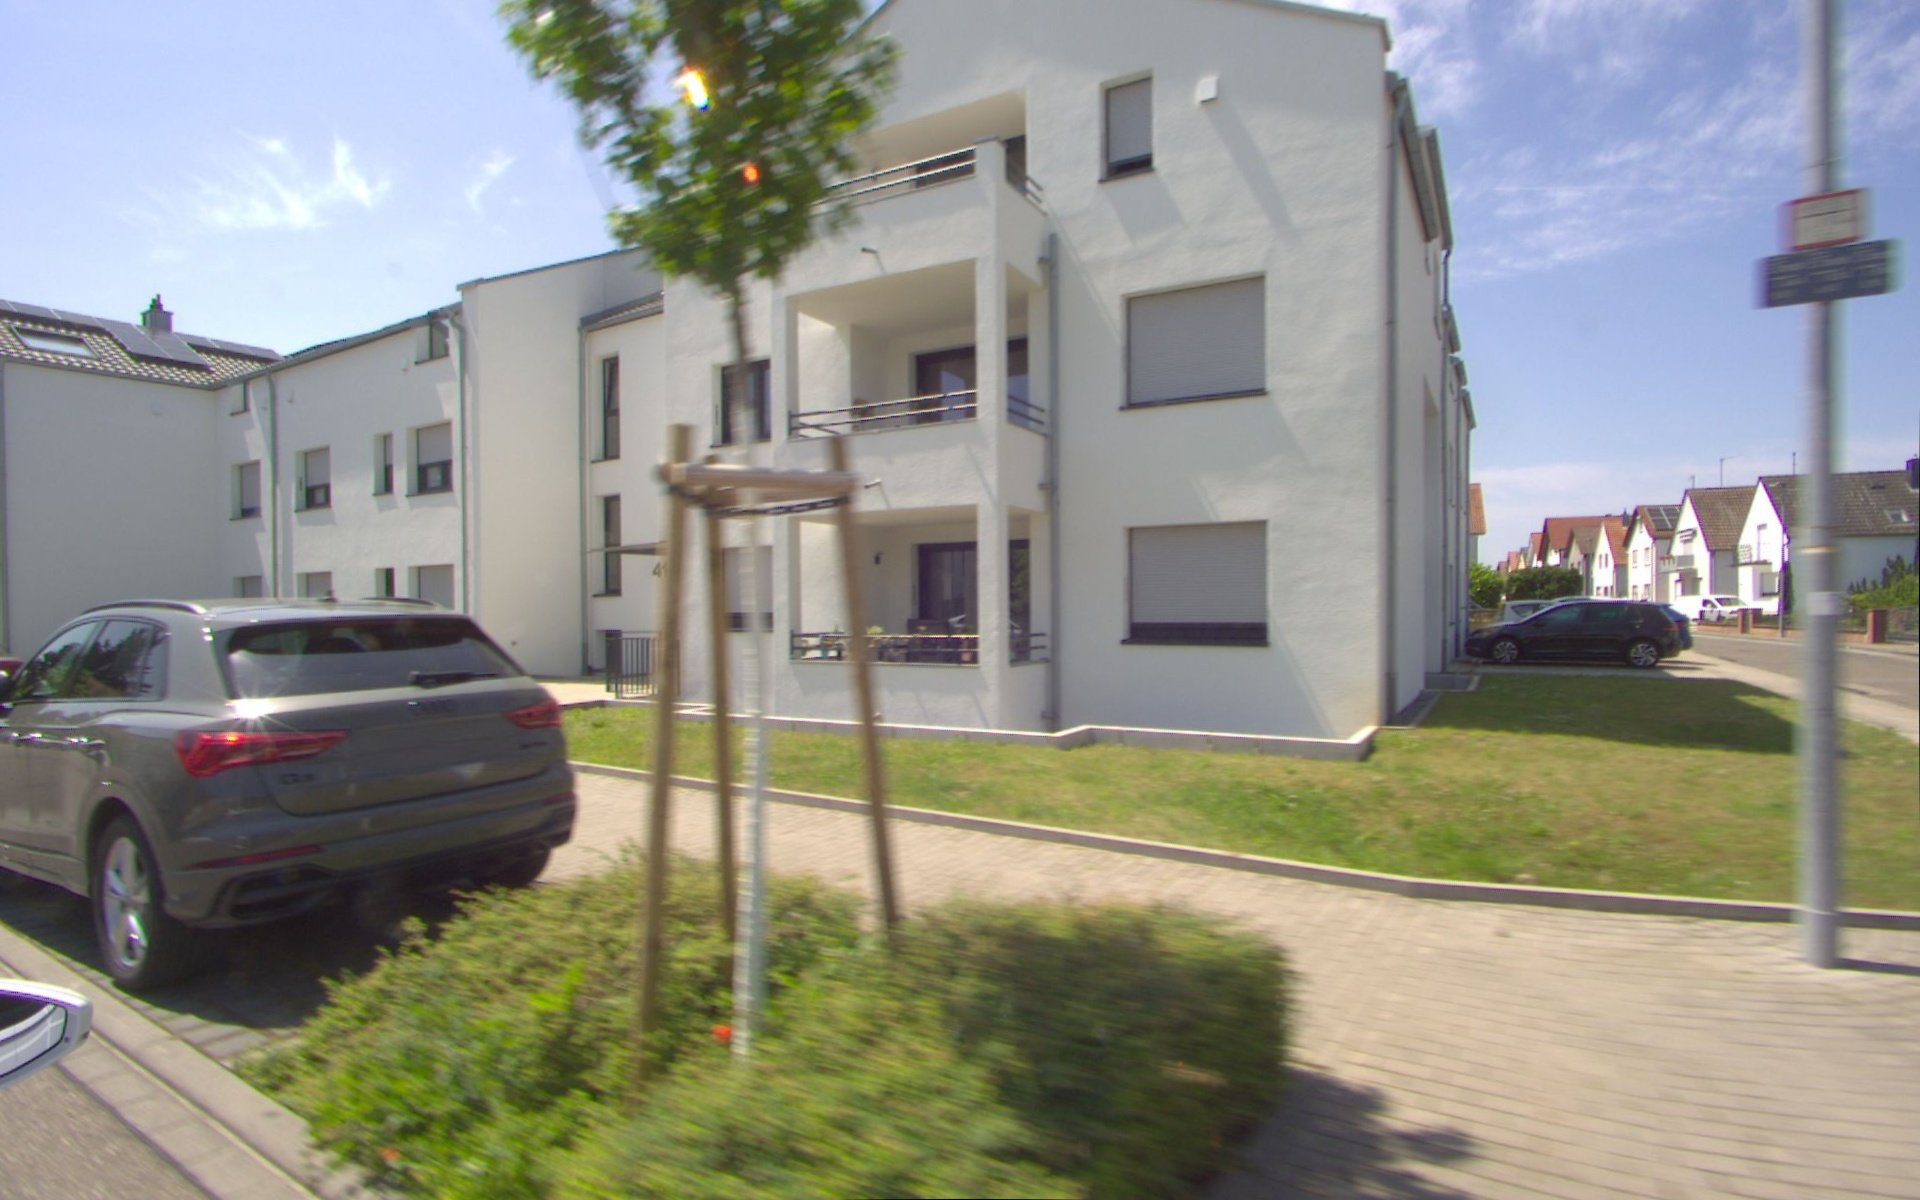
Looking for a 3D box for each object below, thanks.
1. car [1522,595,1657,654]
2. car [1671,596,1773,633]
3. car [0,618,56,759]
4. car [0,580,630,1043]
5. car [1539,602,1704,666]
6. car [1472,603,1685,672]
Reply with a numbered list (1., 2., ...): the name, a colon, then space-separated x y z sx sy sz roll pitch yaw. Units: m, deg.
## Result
1. car: 18.045 0.691 28.851 3.167 1.597 1.457 0 0 28
2. car: 41.232 0.764 54.326 1.961 1.901 4.456 0 -1 -4
3. car: -11.824 0.933 11.146 3.970 1.460 1.676 -1 0 33
4. car: -3.884 0.766 5.405 4.219 1.616 1.769 -1 0 33
5. car: 15.806 0.790 24.091 3.167 1.460 1.457 0 0 28
6. car: 13.739 0.809 22.507 3.946 1.431 1.748 0 0 29
